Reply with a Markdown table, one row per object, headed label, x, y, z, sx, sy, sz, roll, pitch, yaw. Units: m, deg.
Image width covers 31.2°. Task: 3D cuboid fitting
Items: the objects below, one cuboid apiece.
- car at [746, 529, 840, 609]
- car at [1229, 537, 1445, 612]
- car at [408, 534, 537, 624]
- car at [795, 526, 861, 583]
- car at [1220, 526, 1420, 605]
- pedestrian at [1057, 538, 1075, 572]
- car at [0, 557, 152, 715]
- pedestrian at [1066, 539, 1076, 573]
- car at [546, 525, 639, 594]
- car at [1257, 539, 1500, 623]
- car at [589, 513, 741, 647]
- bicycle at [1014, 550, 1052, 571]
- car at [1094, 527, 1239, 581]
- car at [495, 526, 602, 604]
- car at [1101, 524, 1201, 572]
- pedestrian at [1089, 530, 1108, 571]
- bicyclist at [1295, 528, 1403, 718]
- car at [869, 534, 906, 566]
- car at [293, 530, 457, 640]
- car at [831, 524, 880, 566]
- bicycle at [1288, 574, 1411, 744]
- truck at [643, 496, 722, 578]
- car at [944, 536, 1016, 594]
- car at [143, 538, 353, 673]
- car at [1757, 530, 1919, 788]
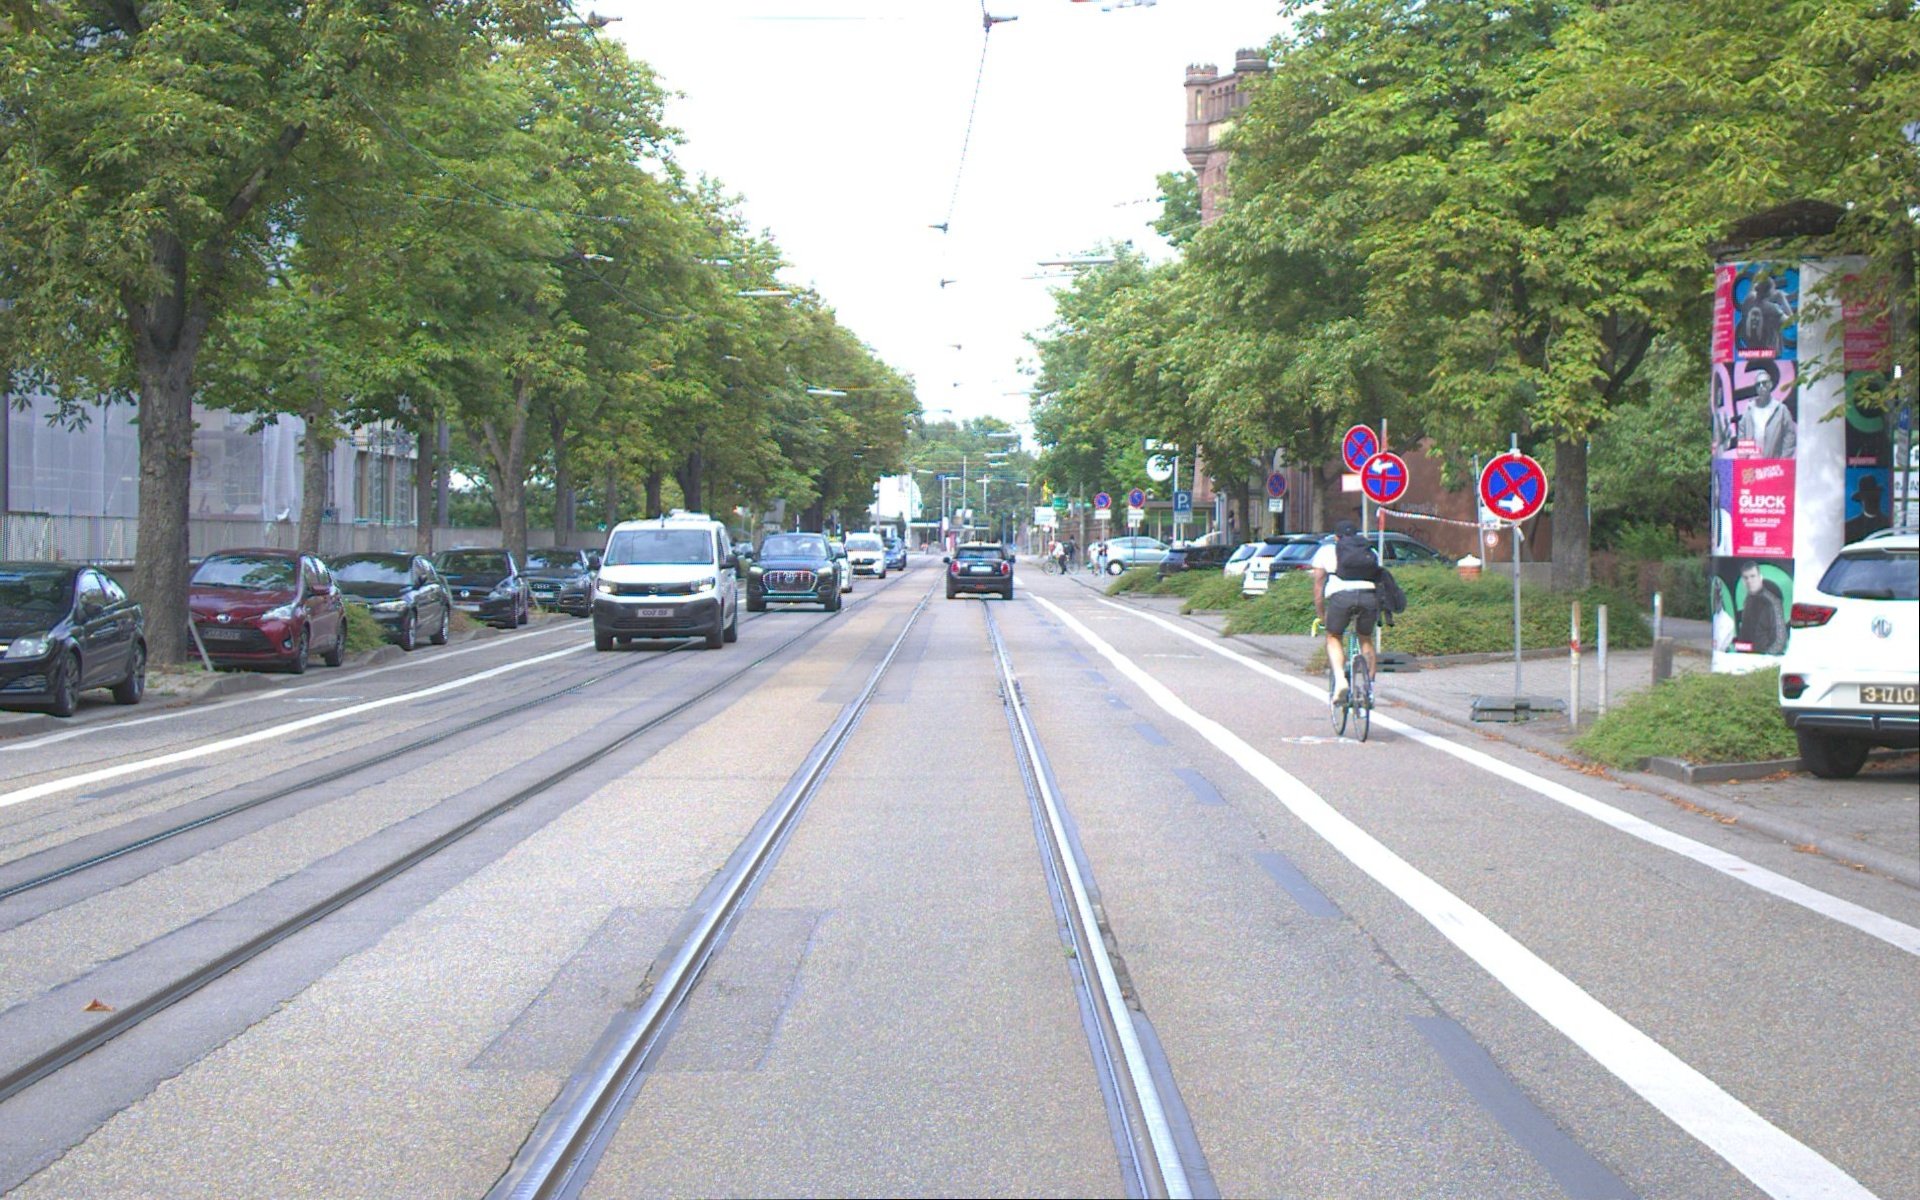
| label | x | y | z | sx | sy | sz | roll | pitch | yaw |
| --- | --- | --- | --- | --- | --- | --- | --- | --- | --- |
| car | -3.503 | -0.673 | 72.642 | 1.802 | 1.616 | 4.485 | -1 | 1 | -1 |
| car | 7.419 | -0.517 | 67.943 | 3.986 | 1.420 | 1.885 | 1 | 1 | -3 |
| car | -8.821 | -0.403 | 62.490 | 1.802 | 1.578 | 4.031 | -1 | 1 | -1 |
| car | -3.881 | -1.355 | 101.640 | 1.802 | 1.616 | 4.485 | -1 | 1 | -1 |
| car | 7.662 | -0.740 | 73.343 | 3.986 | 1.622 | 1.885 | 1 | 1 | -3 |
| pedestrian | 5.152 | -2.202 | 167.046 | 0.726 | 1.640 | 0.766 | 2 | 1 | 10 |
| car | -9.009 | 0.302 | 32.498 | 1.802 | 1.369 | 4.031 | -1 | 1 | -1 |
| pedestrian | 6.558 | -2.600 | 203.327 | 0.518 | 2.007 | 0.480 | 1 | 1 | 4 |
| car | -8.695 | -0.963 | 81.537 | 1.802 | 1.578 | 4.031 | -1 | 1 | -1 |
| car | 7.400 | -0.353 | 61.043 | 3.986 | 1.420 | 1.885 | 1 | 1 | -3 |
| car | -4.176 | -0.318 | 49.236 | 1.802 | 1.817 | 4.485 | -1 | 1 | -1 |
| bicycle | 3.552 | -1.922 | 167.189 | 1.721 | 0.988 | 0.658 | 2 | 1 | 9 |
| car | 5.929 | -1.332 | 98.986 | 3.986 | 1.503 | 1.885 | 1 | 1 | -3 |
| car | -8.678 | -0.760 | 72.721 | 1.802 | 1.578 | 4.031 | -1 | 1 | -1 |
| car | 8.044 | -2.212 | 145.148 | 3.986 | 1.904 | 2.000 | 1 | 1 | -2 |
| pedestrian | 5.633 | -2.026 | 139.953 | 0.726 | 1.640 | 0.766 | 1 | 1 | 2 |
| bicyclist | 3.075 | 0.166 | 27.245 | 0.657 | 1.458 | 1.179 | 1 | 1 | -1 |
| car | -3.684 | -2.562 | 174.958 | 1.802 | 1.616 | 4.485 | -1 | 1 | -1 |
| car | -8.753 | -0.252 | 51.755 | 1.802 | 1.578 | 4.031 | -1 | 1 | -1 |
| car | -4.108 | -2.161 | 135.386 | 1.802 | 1.616 | 4.485 | -1 | 1 | -1 |
| bicycle | 3.069 | 0.446 | 27.251 | 0.657 | 1.244 | 2.125 | 1 | 1 | -1 |
| truck | -8.527 | -1.955 | 106.127 | 2.071 | 2.462 | 4.899 | -1 | 1 | -1 |
| car | 0.489 | -0.925 | 89.645 | 1.793 | 1.418 | 4.000 | 1 | 1 | 0 |
| car | -8.819 | 0.031 | 42.887 | 1.802 | 1.578 | 4.031 | -1 | 1 | -1 |
| car | 6.937 | 0.350 | 22.436 | 3.437 | 1.567 | 1.560 | 0 | 1 | -38 |
